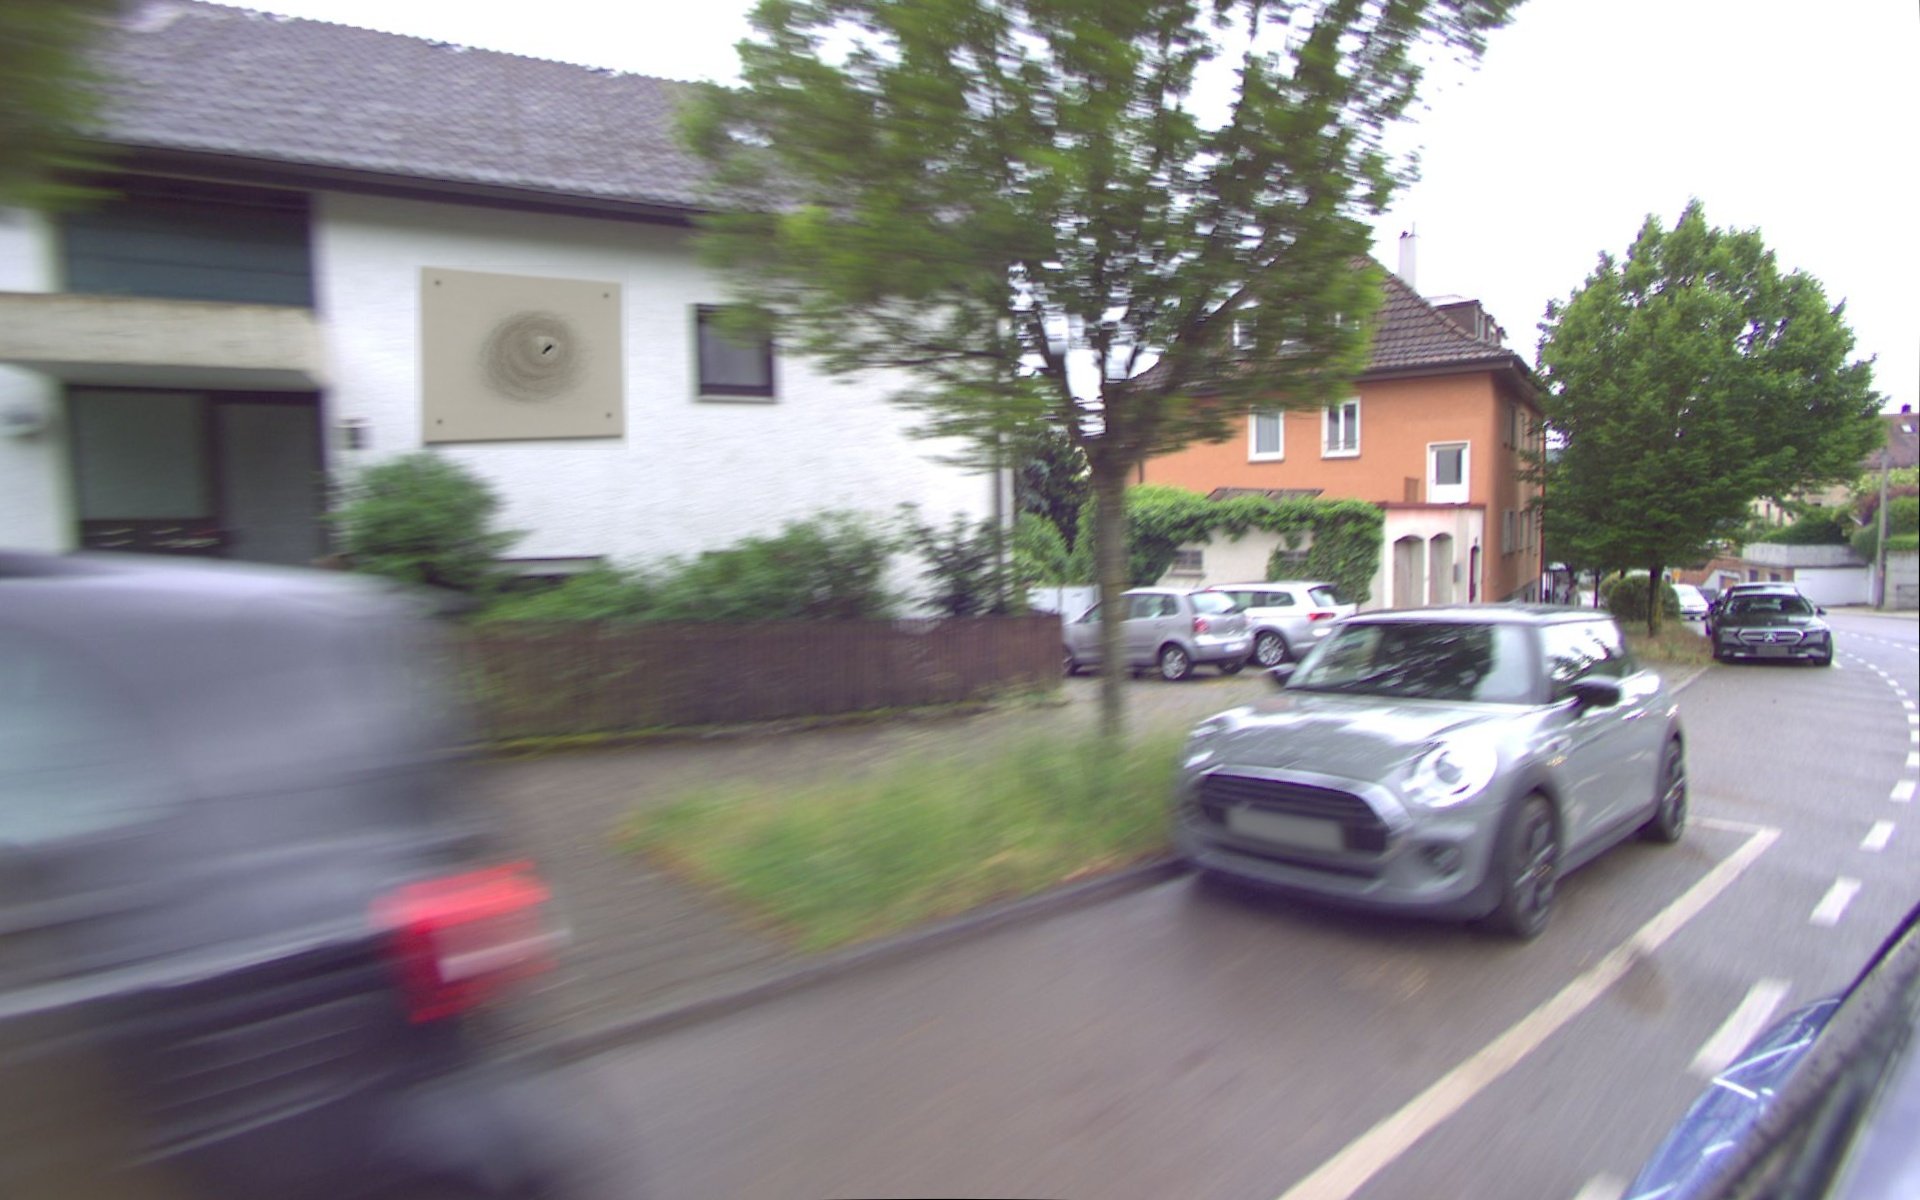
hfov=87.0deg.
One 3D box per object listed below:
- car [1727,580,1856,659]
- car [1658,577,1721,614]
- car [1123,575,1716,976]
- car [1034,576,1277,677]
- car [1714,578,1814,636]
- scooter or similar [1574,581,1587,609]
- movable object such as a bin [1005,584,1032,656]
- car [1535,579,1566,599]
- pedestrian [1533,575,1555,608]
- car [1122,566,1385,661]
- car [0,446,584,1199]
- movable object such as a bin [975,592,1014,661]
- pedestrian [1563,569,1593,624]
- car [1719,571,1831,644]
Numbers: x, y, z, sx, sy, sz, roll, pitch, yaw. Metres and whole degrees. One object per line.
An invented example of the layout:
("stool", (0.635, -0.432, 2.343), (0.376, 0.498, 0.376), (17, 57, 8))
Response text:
("car", (17.431, 0.350, 21.397), (1.857, 1.488, 4.988), (-2, -1, 38))
("car", (31.680, -0.190, 44.053), (1.646, 1.508, 3.961), (-1, 0, 28))
("car", (2.726, 0.639, 5.625), (3.647, 1.490, 1.670), (-1, 0, -42))
("car", (3.190, 0.442, 17.039), (1.748, 1.484, 3.686), (-2, -1, -40))
("car", (24.263, 0.146, 30.705), (1.847, 1.601, 4.802), (0, 1, 32))
("scooter or similar", (28.704, -0.239, 46.788), (0.410, 1.260, 1.164), (1, 1, 27))
("movable object such as a bin", (1.205, 0.411, 20.800), (0.387, 1.455, 0.447), (0, 1, -27))
("car", (50.888, -0.955, 87.223), (1.715, 1.628, 4.089), (-2, 0, 22))
("pedestrian", (30.832, -0.467, 53.464), (0.827, 1.706, 1.035), (3, 2, 26))
("car", (5.304, 0.246, 18.733), (1.902, 1.483, 4.309), (-4, 1, -41))
("car", (-2.212, 0.629, 1.177), (2.969, 1.582, 1.629), (-1, 0, -40))
("movable object such as a bin", (0.704, 0.522, 20.723), (0.581, 1.368, 0.622), (0, 1, -27))
("pedestrian", (20.237, -0.131, 33.133), (0.757, 1.741, 0.892), (3, 2, 33))
("car", (20.917, 0.118, 25.940), (2.051, 1.677, 5.160), (1, 1, 40))
